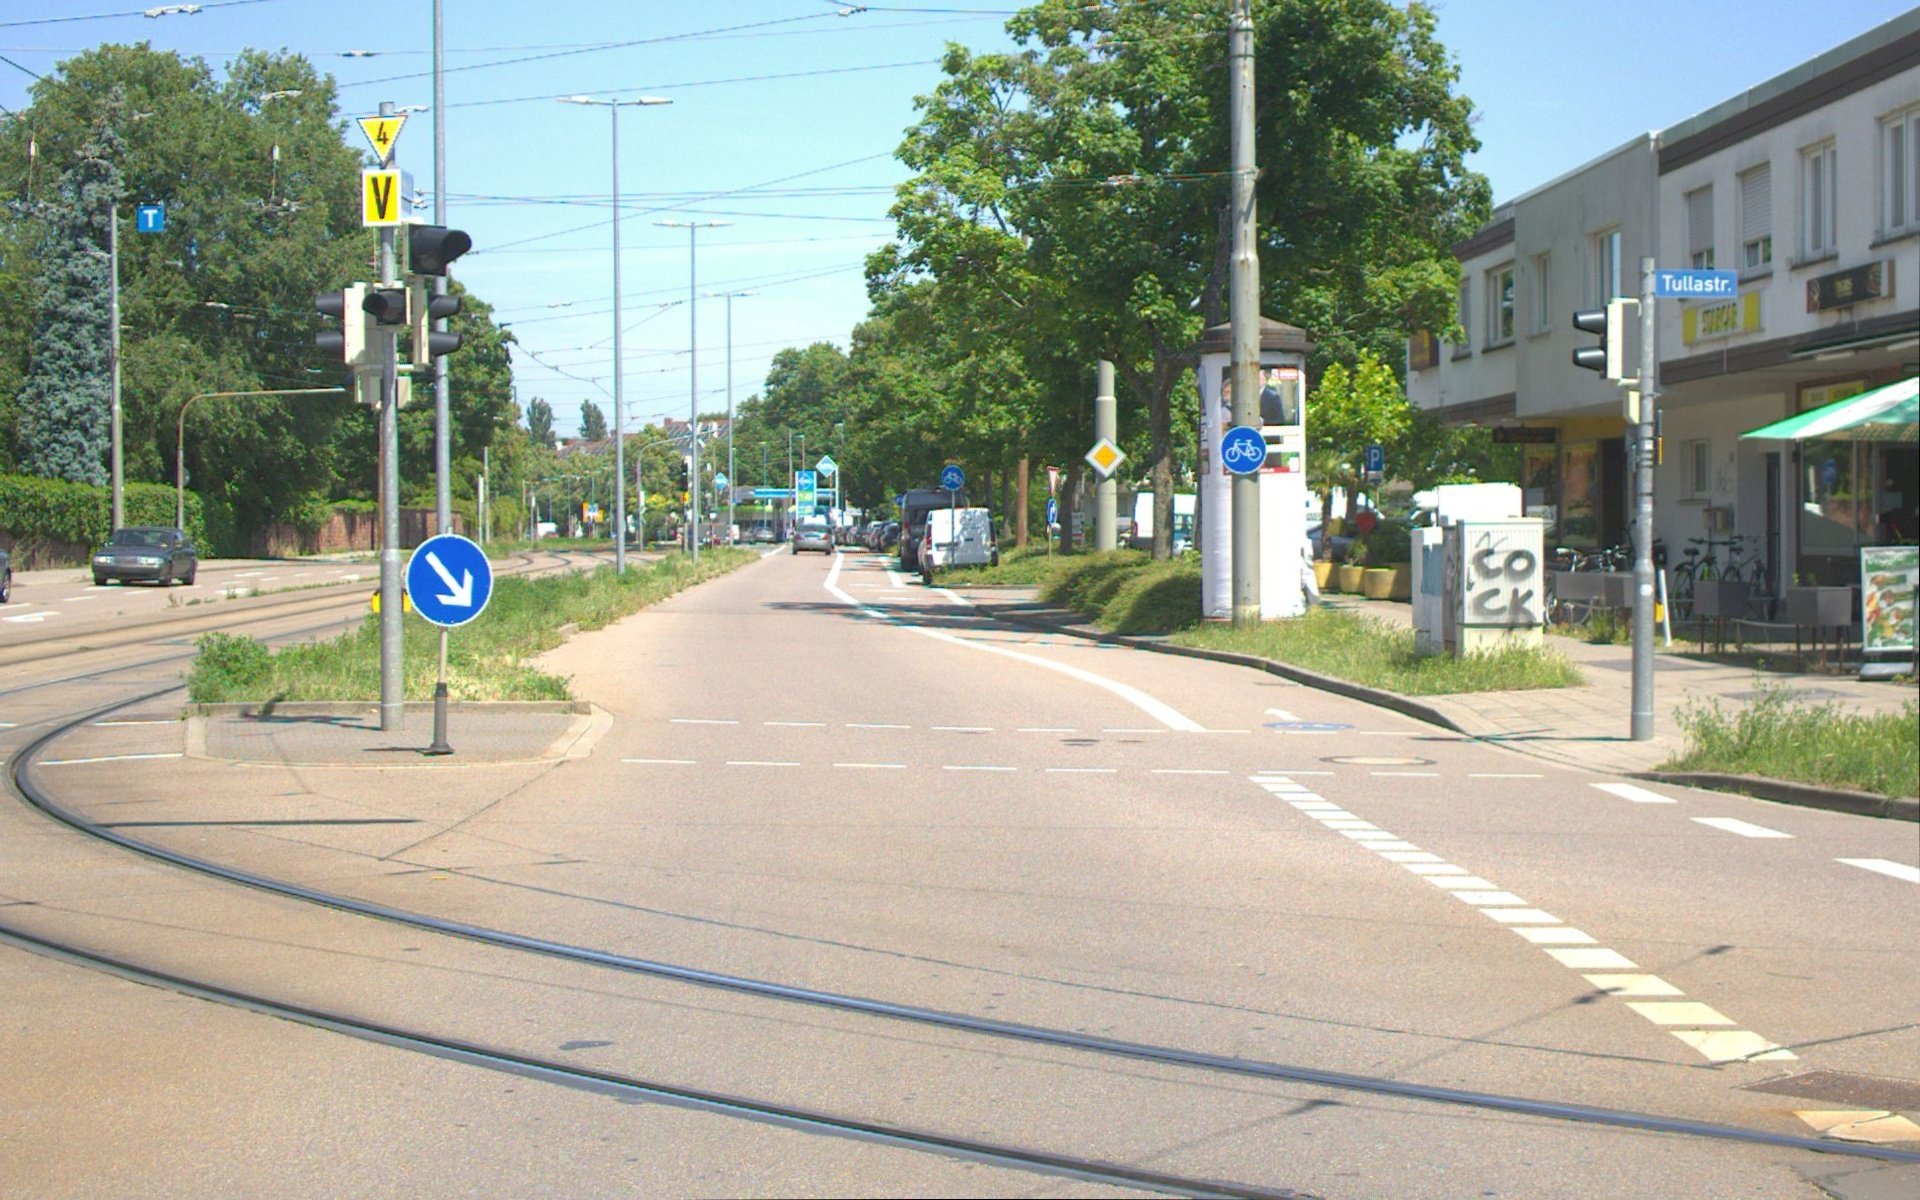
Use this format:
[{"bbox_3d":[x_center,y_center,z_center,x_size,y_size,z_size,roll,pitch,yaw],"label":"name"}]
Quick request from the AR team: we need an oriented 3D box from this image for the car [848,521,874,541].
[{"bbox_3d":[-6.441,-4.510,223.847,1.523,1.291,3.493,0,1,-4],"label":"car"}]

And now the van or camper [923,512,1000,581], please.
[{"bbox_3d":[0.014,-1.403,89.392,1.922,1.766,4.000,0,1,-1],"label":"van or camper"}]

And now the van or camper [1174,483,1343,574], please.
[{"bbox_3d":[8.889,-2.136,102.593,4.756,2.662,2.136,0,1,-3],"label":"van or camper"}]

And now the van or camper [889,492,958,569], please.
[{"bbox_3d":[-1.204,-2.254,111.776,1.993,2.456,4.001,0,1,-4],"label":"van or camper"}]

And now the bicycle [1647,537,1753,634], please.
[{"bbox_3d":[9.327,-0.200,43.436,0.989,1.160,2.637,0,1,5],"label":"bicycle"}]

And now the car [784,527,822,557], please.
[{"bbox_3d":[-7.306,-2.692,159.530,1.636,1.346,3.843,0,1,-4],"label":"car"}]

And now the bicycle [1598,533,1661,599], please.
[{"bbox_3d":[11.183,-0.574,57.496,0.507,1.061,1.865,2,0,-5],"label":"bicycle"}]

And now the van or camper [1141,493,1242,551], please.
[{"bbox_3d":[8.541,-2.873,126.973,3.557,2.138,1.603,0,1,-3],"label":"van or camper"}]

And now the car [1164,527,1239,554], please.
[{"bbox_3d":[8.683,-2.127,123.597,2.587,0.959,1.149,0,1,0],"label":"car"}]

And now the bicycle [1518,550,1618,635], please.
[{"bbox_3d":[7.659,-0.114,43.424,1.034,1.011,2.637,0,1,5],"label":"bicycle"}]

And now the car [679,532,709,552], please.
[{"bbox_3d":[-14.418,-3.141,186.614,1.492,1.043,3.580,0,1,-2],"label":"car"}]

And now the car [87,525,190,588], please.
[{"bbox_3d":[-19.601,-1.061,82.173,1.641,1.395,4.117,2,1,-3],"label":"car"}]

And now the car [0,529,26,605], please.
[{"bbox_3d":[-18.922,-0.619,64.442,1.641,1.416,4.168,2,1,1],"label":"car"}]
